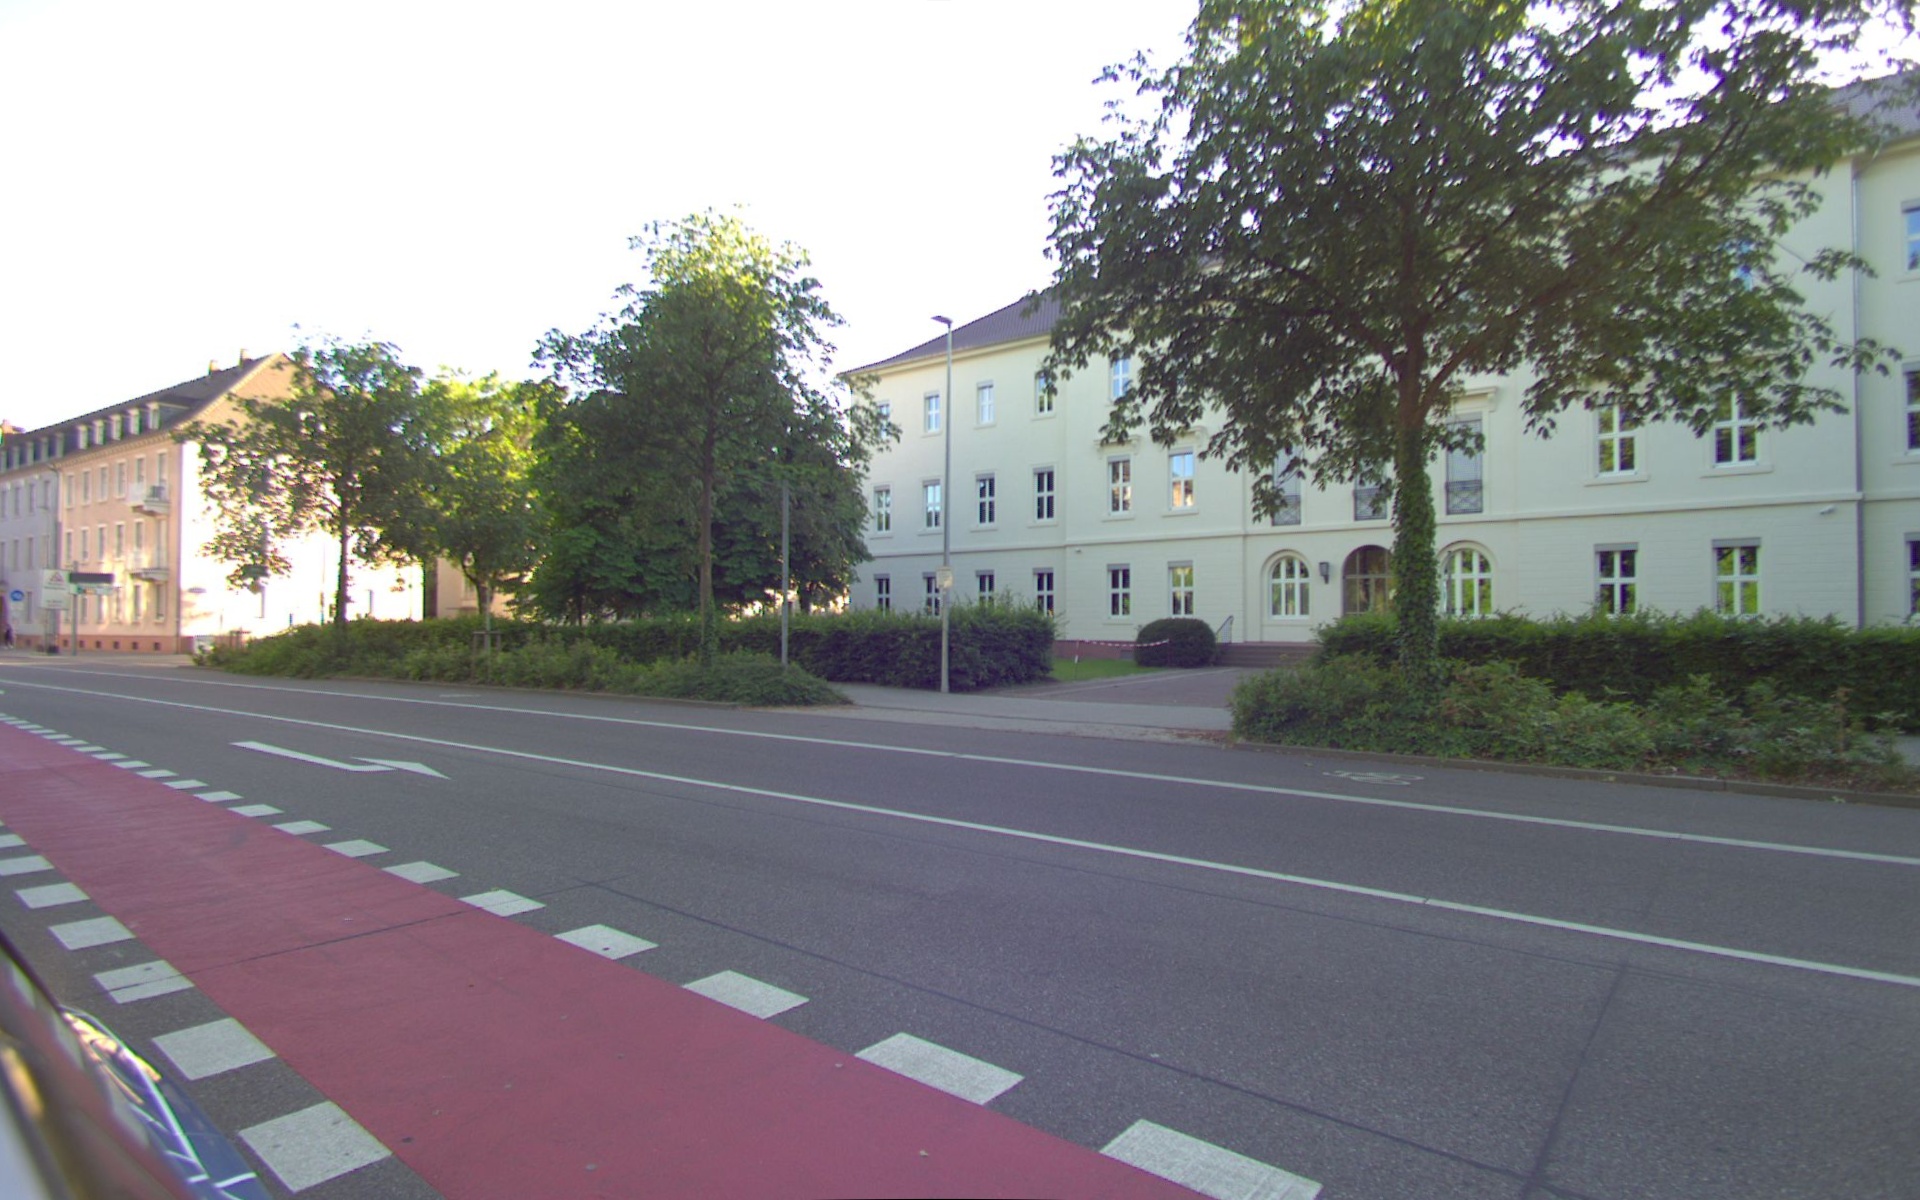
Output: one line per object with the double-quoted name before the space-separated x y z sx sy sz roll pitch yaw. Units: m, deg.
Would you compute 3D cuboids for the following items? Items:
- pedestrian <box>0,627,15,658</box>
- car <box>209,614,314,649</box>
"pedestrian" -61.009 2.714 64.482 1.060 1.919 0.938 -1 -1 33
"car" -35.452 1.543 51.433 1.993 1.674 3.958 -1 -1 31
